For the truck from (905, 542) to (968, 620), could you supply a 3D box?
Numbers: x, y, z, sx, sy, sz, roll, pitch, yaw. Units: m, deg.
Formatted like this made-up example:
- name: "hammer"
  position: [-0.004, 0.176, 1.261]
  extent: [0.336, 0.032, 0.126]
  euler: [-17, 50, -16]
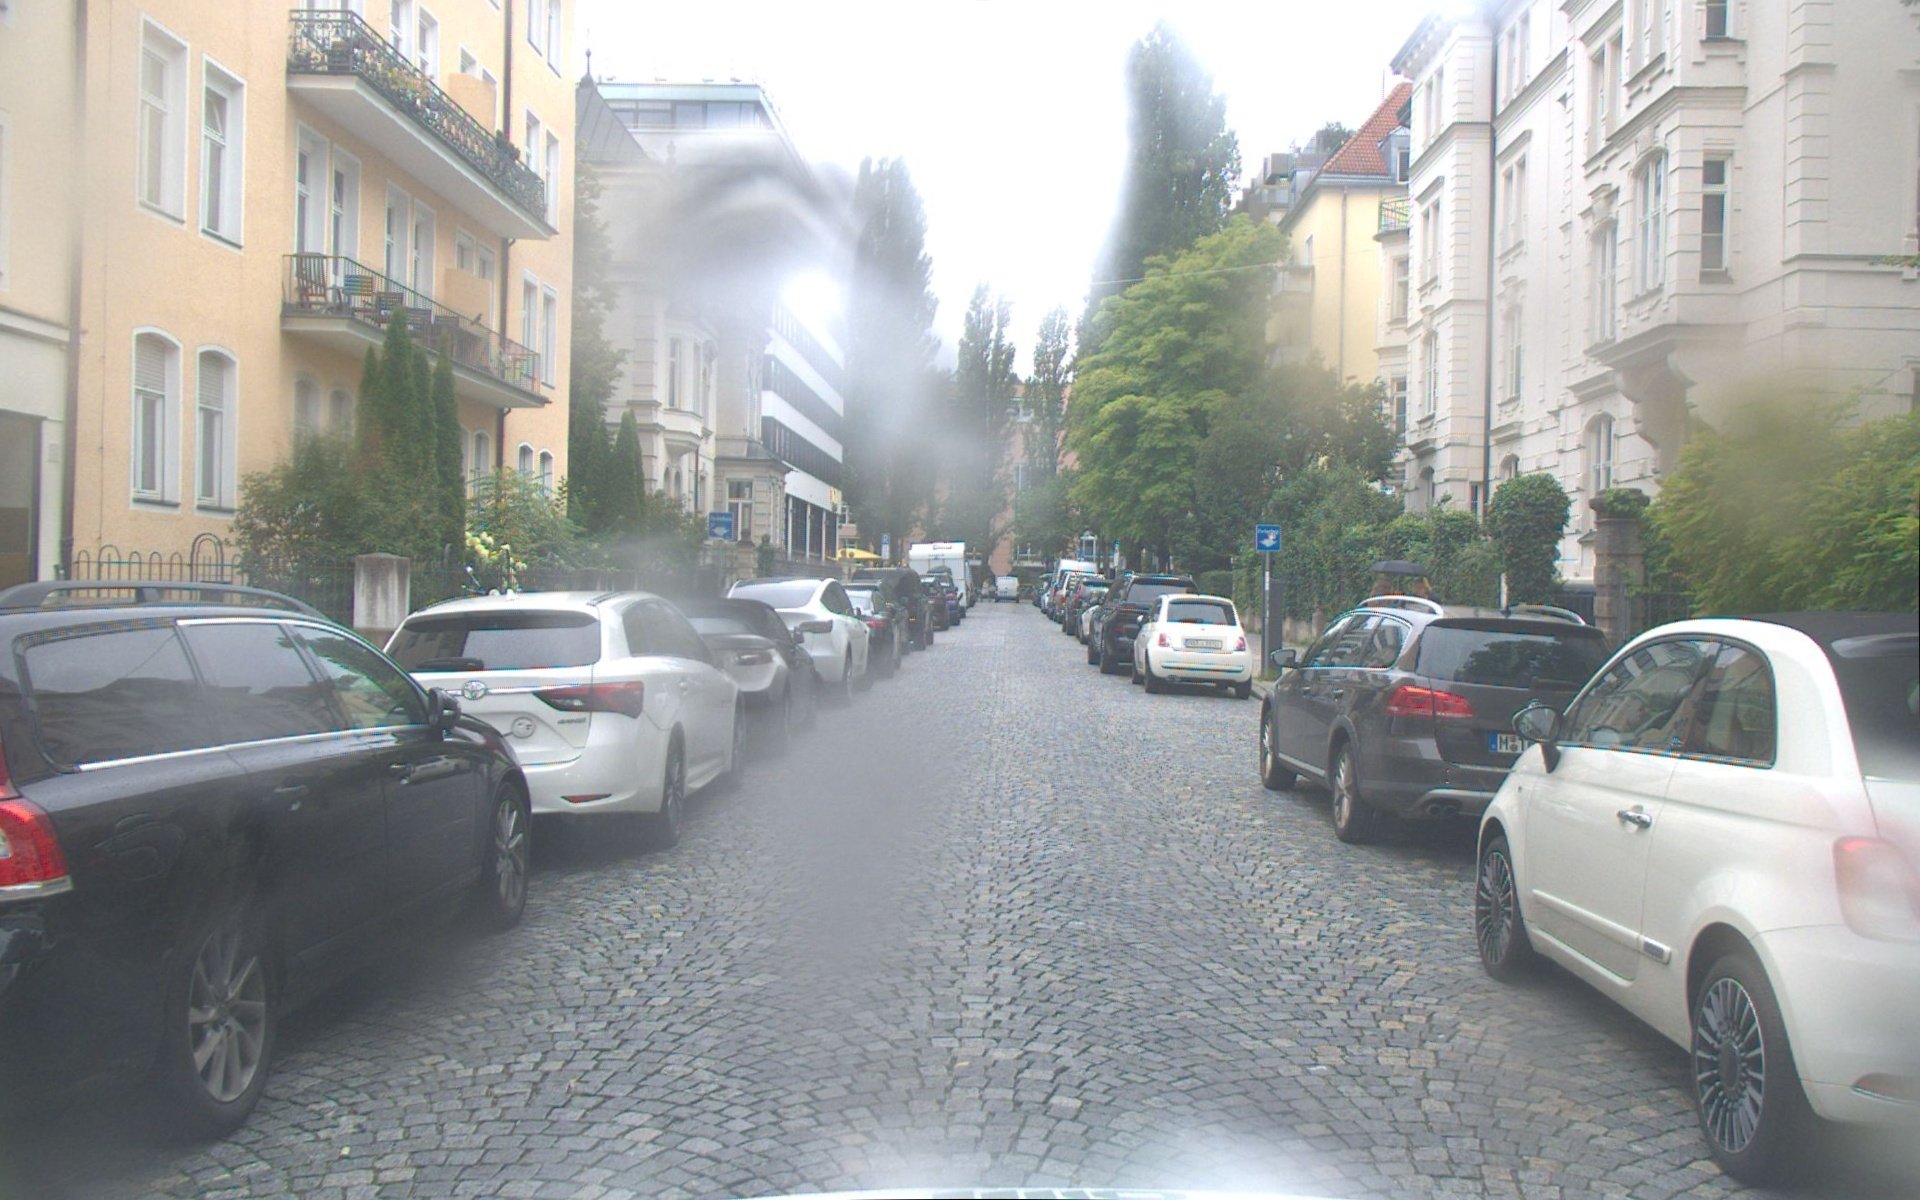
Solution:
- name: "truck"
  position: [-0.911, -0.828, 69.311]
  extent: [2.457, 3.084, 6.385]
  euler: [-1, 1, 0]

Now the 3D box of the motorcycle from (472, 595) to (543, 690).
- name: "motorcycle"
  position: [-6.070, 0.551, 22.254]
  extent: [0.481, 1.215, 1.580]
  euler: [1, 0, 1]

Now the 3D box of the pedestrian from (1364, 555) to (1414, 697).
- name: "pedestrian"
  position: [5.803, 0.346, 22.386]
  extent: [0.563, 1.882, 0.682]
  euler: [1, 0, 9]

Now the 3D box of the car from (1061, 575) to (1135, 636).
- name: "car"
  position: [4.252, 0.156, 51.675]
  extent: [1.922, 1.789, 4.955]
  euler: [1, 0, 1]

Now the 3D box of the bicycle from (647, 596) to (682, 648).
- name: "bicycle"
  position: [-6.014, 0.436, 33.723]
  extent: [0.344, 1.020, 1.573]
  euler: [1, 0, 3]

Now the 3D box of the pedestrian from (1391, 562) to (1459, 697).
- name: "pedestrian"
  position: [6.430, 0.402, 22.889]
  extent: [0.619, 1.840, 0.656]
  euler: [1, 0, -21]

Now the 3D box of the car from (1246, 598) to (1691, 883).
- name: "car"
  position: [3.228, 0.779, 11.504]
  extent: [1.614, 1.446, 4.632]
  euler: [4, 0, 0]

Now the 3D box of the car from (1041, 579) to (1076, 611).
- name: "car"
  position: [4.894, -0.246, 82.843]
  extent: [1.567, 1.512, 3.479]
  euler: [1, 0, 1]

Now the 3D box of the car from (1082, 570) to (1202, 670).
- name: "car"
  position: [3.361, 0.413, 31.505]
  extent: [1.836, 1.702, 5.491]
  euler: [1, -1, 2]

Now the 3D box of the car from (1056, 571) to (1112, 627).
- name: "car"
  position: [4.811, -0.048, 64.776]
  extent: [1.763, 1.983, 4.861]
  euler: [4, 0, 1]

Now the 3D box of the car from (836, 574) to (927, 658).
- name: "car"
  position: [-1.575, 0.314, 34.424]
  extent: [1.547, 1.618, 4.057]
  euler: [-1, 0, 2]

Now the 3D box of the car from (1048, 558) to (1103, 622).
- name: "car"
  position: [4.853, -0.445, 70.412]
  extent: [1.856, 2.468, 5.612]
  euler: [4, 1, 1]

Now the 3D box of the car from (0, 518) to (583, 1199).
- name: "car"
  position: [-2.807, 0.606, 5.873]
  extent: [1.814, 1.614, 4.748]
  euler: [1, 0, 0]

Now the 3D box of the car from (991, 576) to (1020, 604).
- name: "car"
  position: [3.328, -0.718, 120.245]
  extent: [1.955, 1.970, 4.002]
  euler: [1, 0, 3]

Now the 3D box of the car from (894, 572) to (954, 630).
- name: "car"
  position: [-1.112, 0.017, 52.685]
  extent: [1.737, 1.747, 4.391]
  euler: [1, 0, 1]

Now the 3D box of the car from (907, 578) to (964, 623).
- name: "car"
  position: [-0.823, 0.020, 57.963]
  extent: [1.900, 1.484, 4.058]
  euler: [1, 0, 0]

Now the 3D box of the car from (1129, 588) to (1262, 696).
- name: "car"
  position: [3.640, 0.606, 26.128]
  extent: [1.596, 1.495, 3.660]
  euler: [3, 0, 1]

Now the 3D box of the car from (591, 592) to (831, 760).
- name: "car"
  position: [-2.264, 0.630, 16.111]
  extent: [1.738, 1.383, 4.390]
  euler: [1, 0, -1]

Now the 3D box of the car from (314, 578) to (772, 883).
- name: "car"
  position: [-2.425, 0.672, 10.866]
  extent: [1.737, 1.563, 4.541]
  euler: [-1, 0, 1]

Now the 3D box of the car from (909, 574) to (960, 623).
- name: "car"
  position: [-0.935, -0.074, 63.191]
  extent: [1.855, 1.781, 4.168]
  euler: [1, 0, 0]

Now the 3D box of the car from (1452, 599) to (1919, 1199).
- name: "car"
  position: [2.902, 0.757, 5.639]
  extent: [1.470, 1.497, 3.797]
  euler: [1, 0, 3]

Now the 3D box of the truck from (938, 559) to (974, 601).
- name: "truck"
  position: [-0.203, -1.170, 98.088]
  extent: [1.952, 2.387, 4.069]
  euler: [1, 0, 1]

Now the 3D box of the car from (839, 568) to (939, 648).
- name: "car"
  position: [-1.625, 0.138, 39.461]
  extent: [1.941, 1.768, 4.724]
  euler: [1, 1, 2]

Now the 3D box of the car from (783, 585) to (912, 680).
- name: "car"
  position: [-1.833, 0.506, 28.169]
  extent: [1.737, 1.454, 4.392]
  euler: [1, 0, 2]

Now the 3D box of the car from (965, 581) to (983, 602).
- name: "car"
  position: [1.088, -0.649, 123.956]
  extent: [1.250, 1.568, 3.119]
  euler: [1, 0, 1]

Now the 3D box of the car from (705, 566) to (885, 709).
- name: "car"
  position: [-2.082, 0.442, 22.039]
  extent: [1.737, 1.676, 4.392]
  euler: [1, 0, 2]
